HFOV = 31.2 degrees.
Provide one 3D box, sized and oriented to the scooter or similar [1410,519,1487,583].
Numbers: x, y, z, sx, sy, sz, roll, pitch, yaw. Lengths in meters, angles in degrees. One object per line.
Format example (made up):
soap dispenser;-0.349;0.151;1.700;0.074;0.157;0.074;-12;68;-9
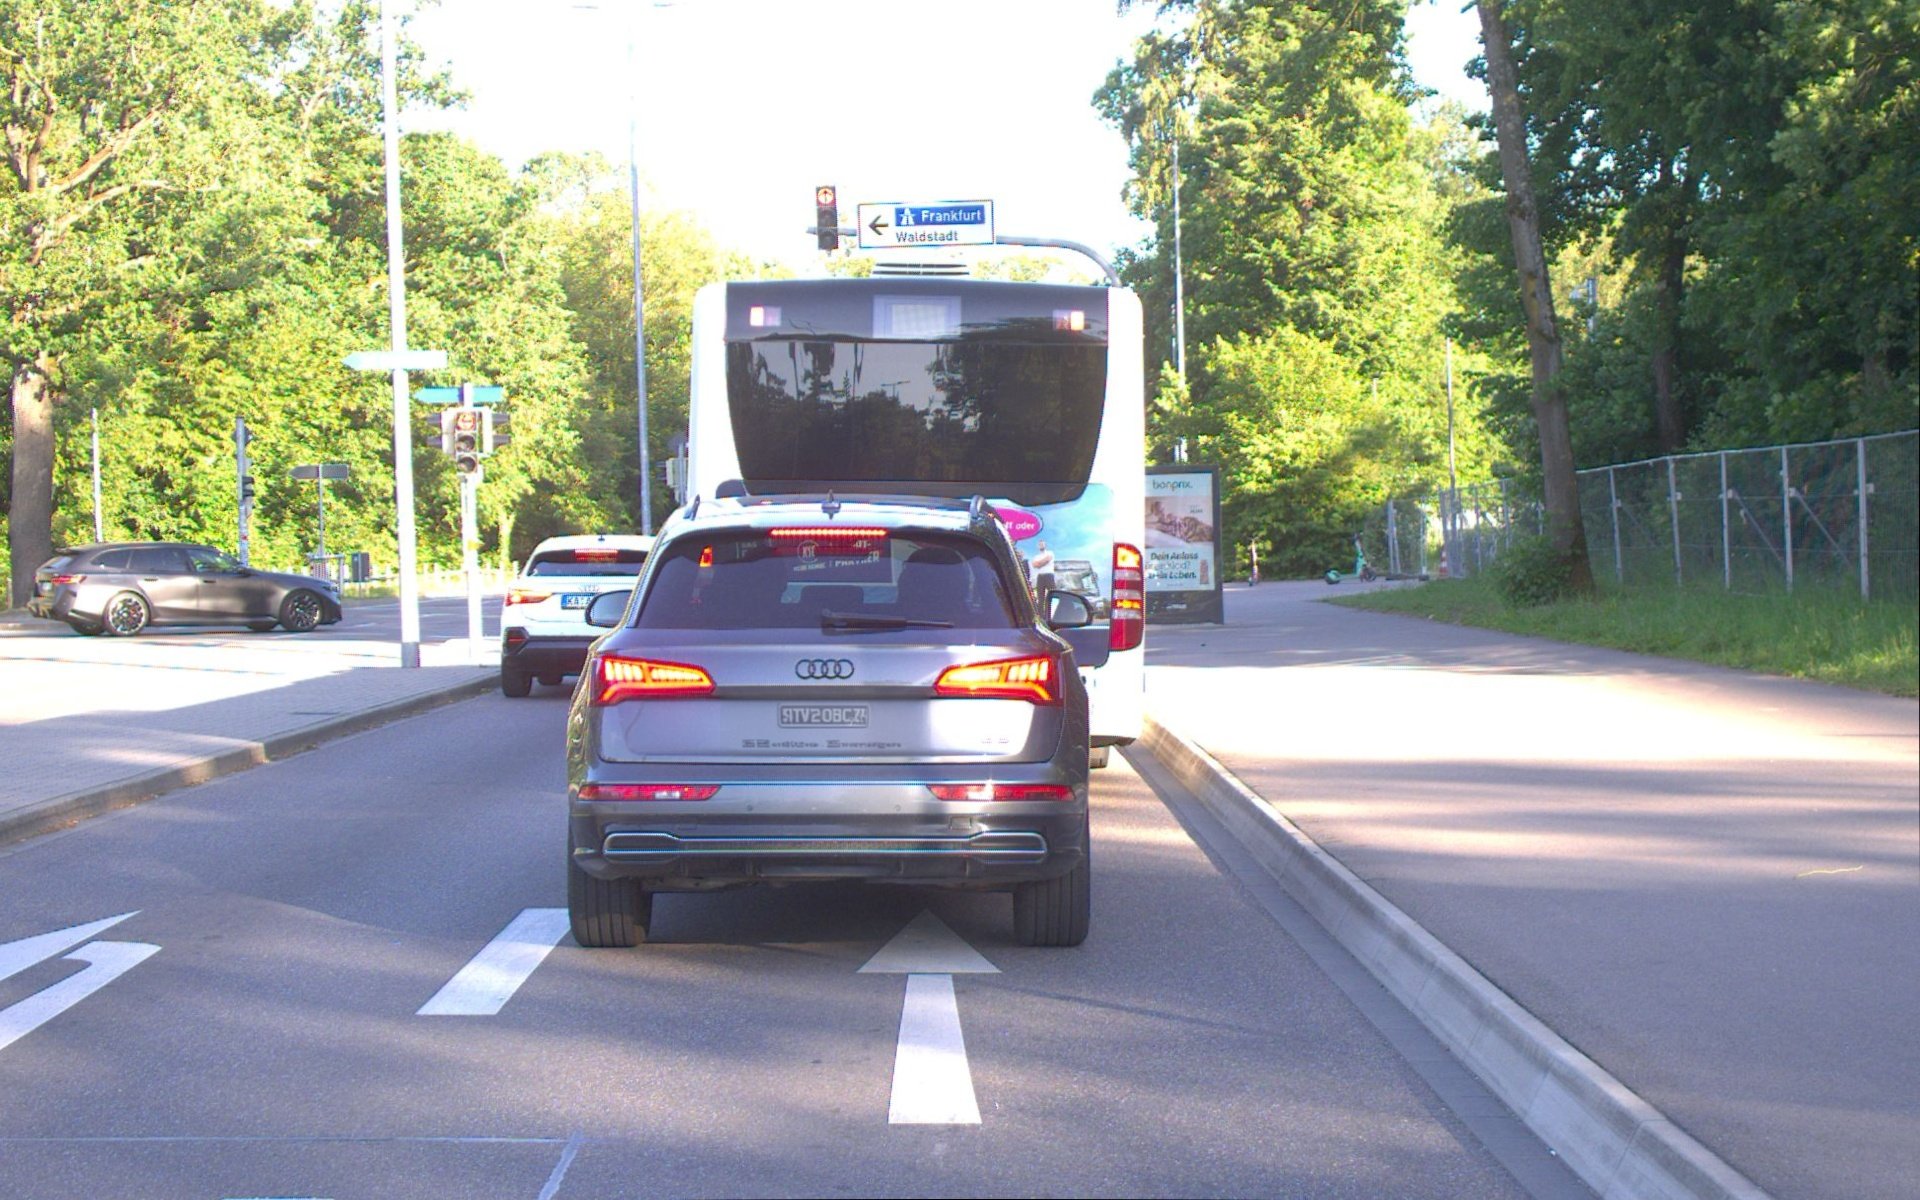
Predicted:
scooter or similar;12.157;-1.209;85.613;0.539;1.562;2.022;-3;1;-39

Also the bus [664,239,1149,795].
bus;-0.331;-0.494;23.109;2.594;2.978;9.327;0;1;-1

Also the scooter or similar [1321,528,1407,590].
scooter or similar;9.909;-1.014;84.331;2.015;1.439;0.606;-2;1;-25

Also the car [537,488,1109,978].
car;-0.477;0.403;13.486;1.898;1.626;4.000;0;1;-1

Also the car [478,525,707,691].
car;-3.542;0.031;33.775;1.836;1.513;4.000;-1;1;0

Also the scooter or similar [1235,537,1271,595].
scooter or similar;7.408;-0.872;86.917;0.508;1.439;2.023;-2;1;-6

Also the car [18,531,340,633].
car;-12.899;-0.309;56.832;4.773;1.493;2.000;-2;1;-30
